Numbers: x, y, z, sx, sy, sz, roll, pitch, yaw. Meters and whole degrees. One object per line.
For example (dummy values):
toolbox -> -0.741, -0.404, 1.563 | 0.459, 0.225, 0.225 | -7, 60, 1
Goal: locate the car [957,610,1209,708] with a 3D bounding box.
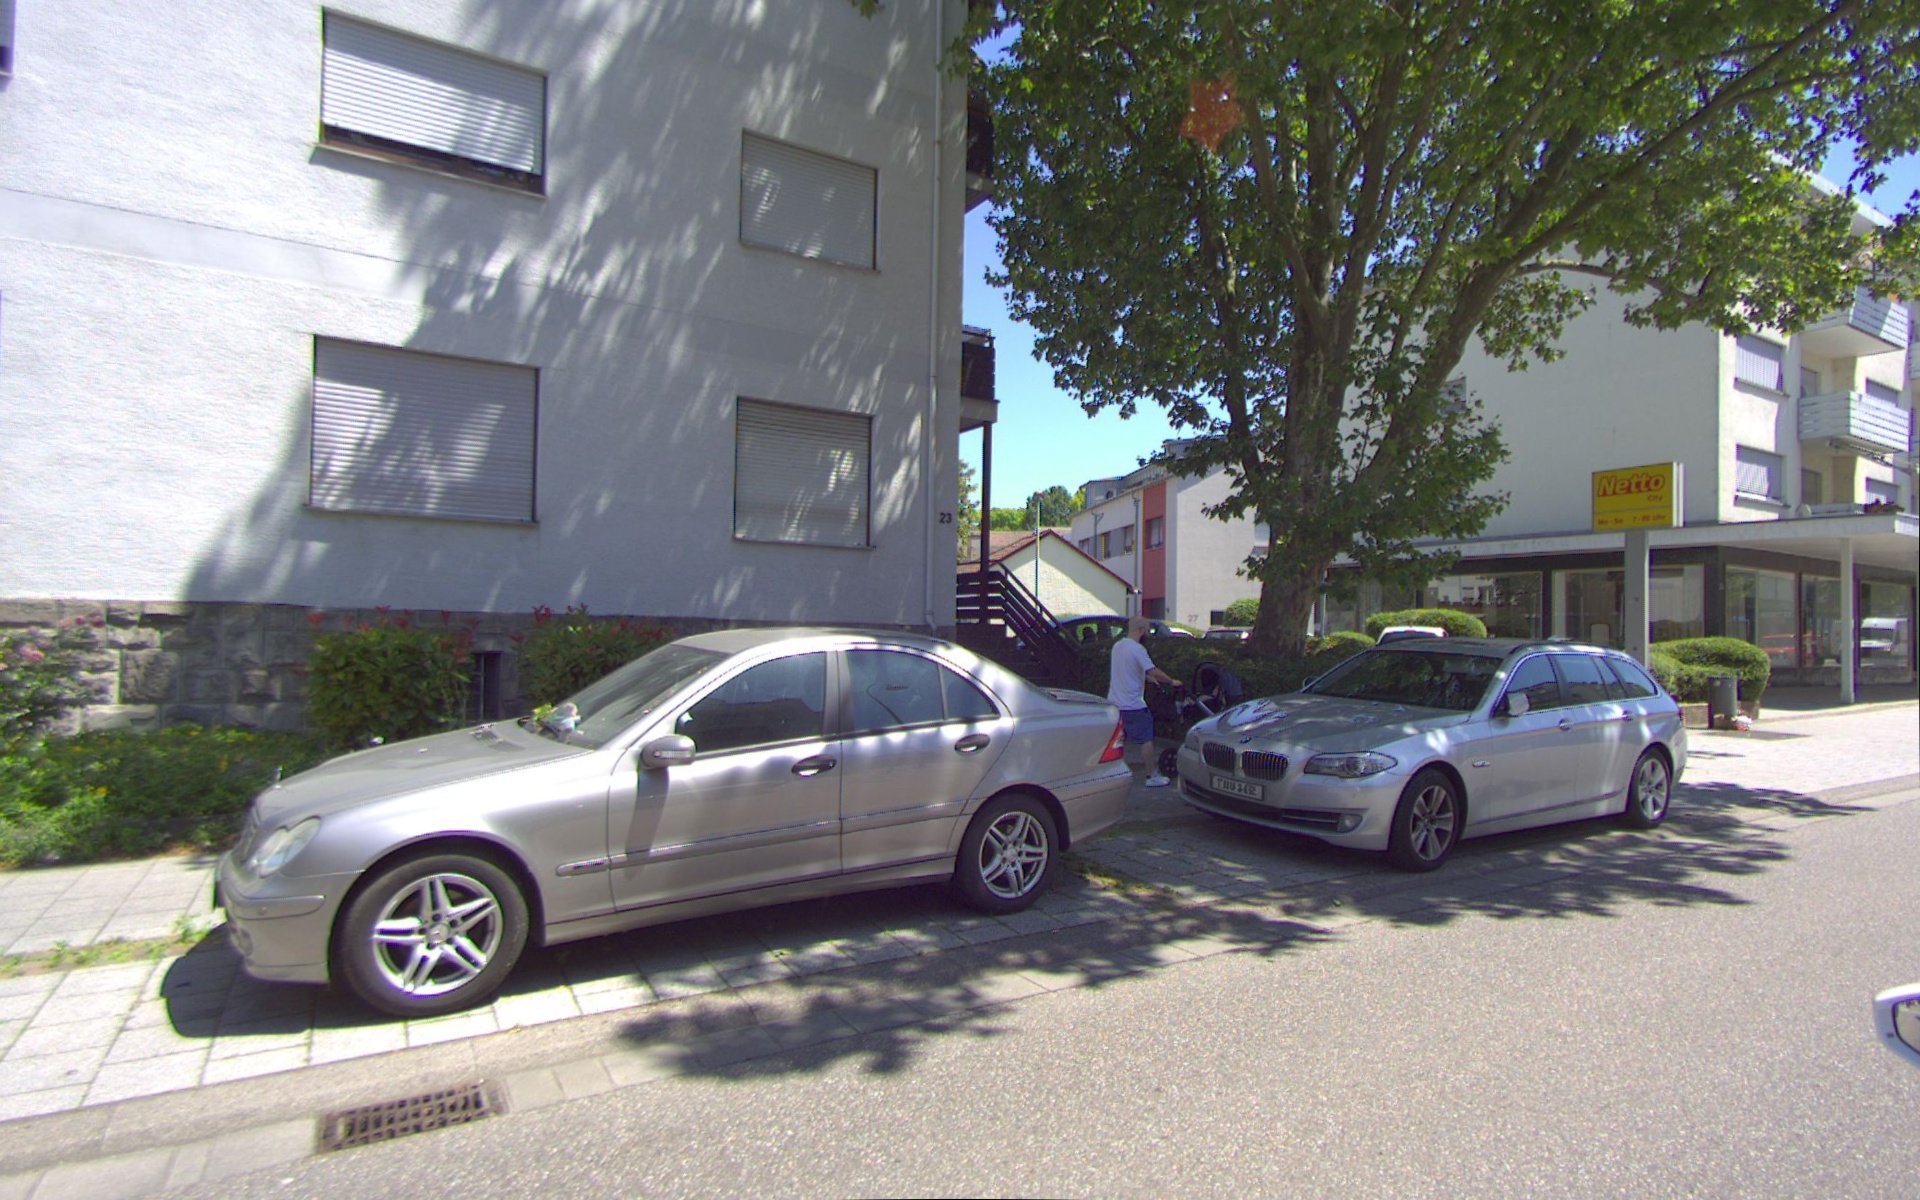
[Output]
car -> 2.133, 1.018, 17.619 | 4.041, 1.565, 1.805 | 1, -2, -19

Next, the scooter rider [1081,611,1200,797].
scooter rider -> 1.646, 0.913, 9.192 | 0.867, 1.596, 0.585 | 1, 1, -30

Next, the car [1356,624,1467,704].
car -> 9.583, 1.289, 21.178 | 1.863, 1.506, 3.990 | 0, -2, 28

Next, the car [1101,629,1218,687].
car -> 5.467, 1.534, 27.212 | 1.746, 1.453, 4.026 | -2, -3, 33

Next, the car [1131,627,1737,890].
car -> 3.940, 0.998, 8.005 | 5.094, 1.471, 1.970 | 2, -1, -33

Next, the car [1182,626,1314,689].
car -> 7.412, 1.434, 25.684 | 1.726, 1.481, 3.909 | -2, -3, 41

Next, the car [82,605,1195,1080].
car -> -1.209, 0.817, 5.273 | 4.815, 1.471, 1.970 | 2, -1, -33

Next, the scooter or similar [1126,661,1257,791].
scooter or similar -> 2.186, 1.156, 9.497 | 1.016, 1.113, 0.660 | 1, 1, -30
